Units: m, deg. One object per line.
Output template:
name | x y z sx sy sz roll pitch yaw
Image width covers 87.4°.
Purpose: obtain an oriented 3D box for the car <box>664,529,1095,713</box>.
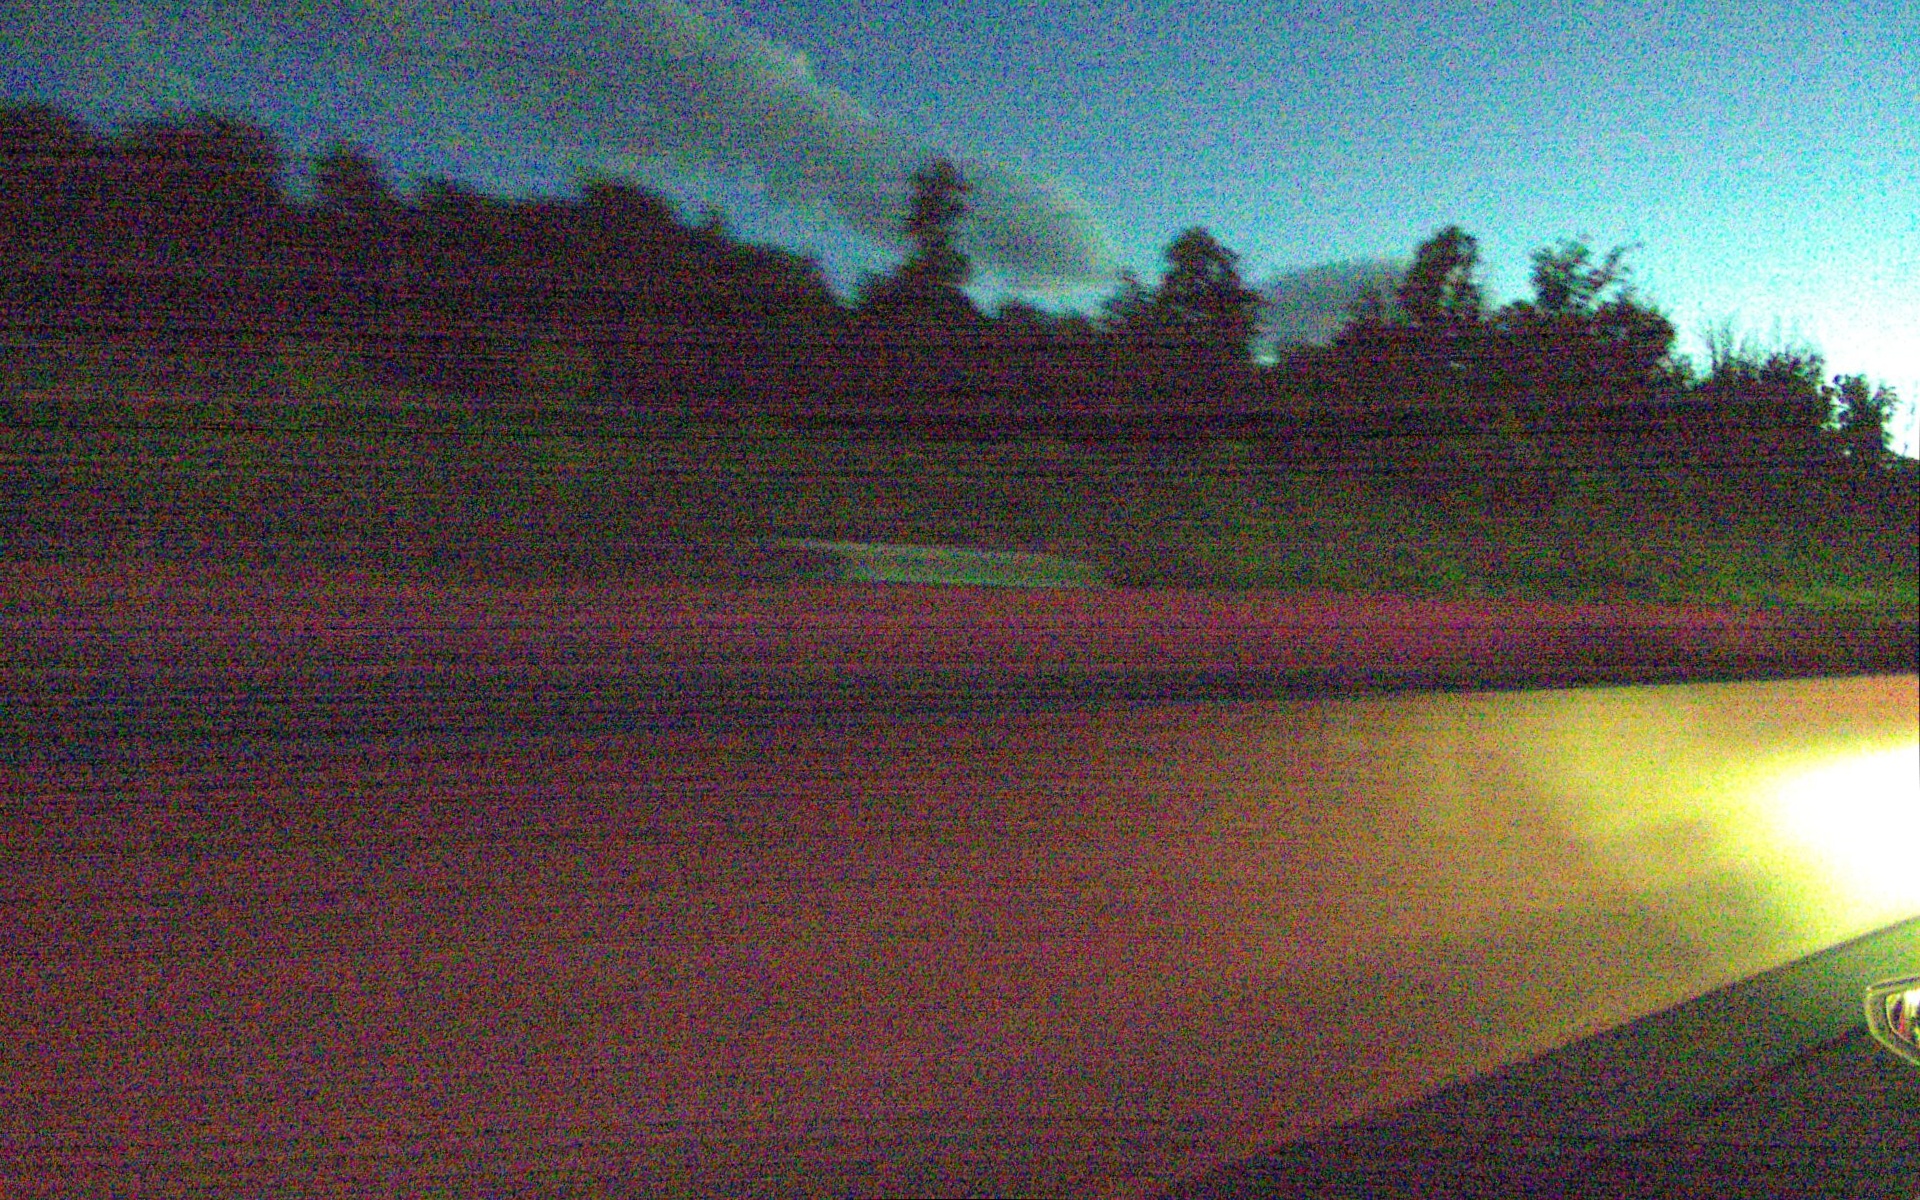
car | -0.884 0.177 11.922 4.695 1.800 1.982 1 3 -32
